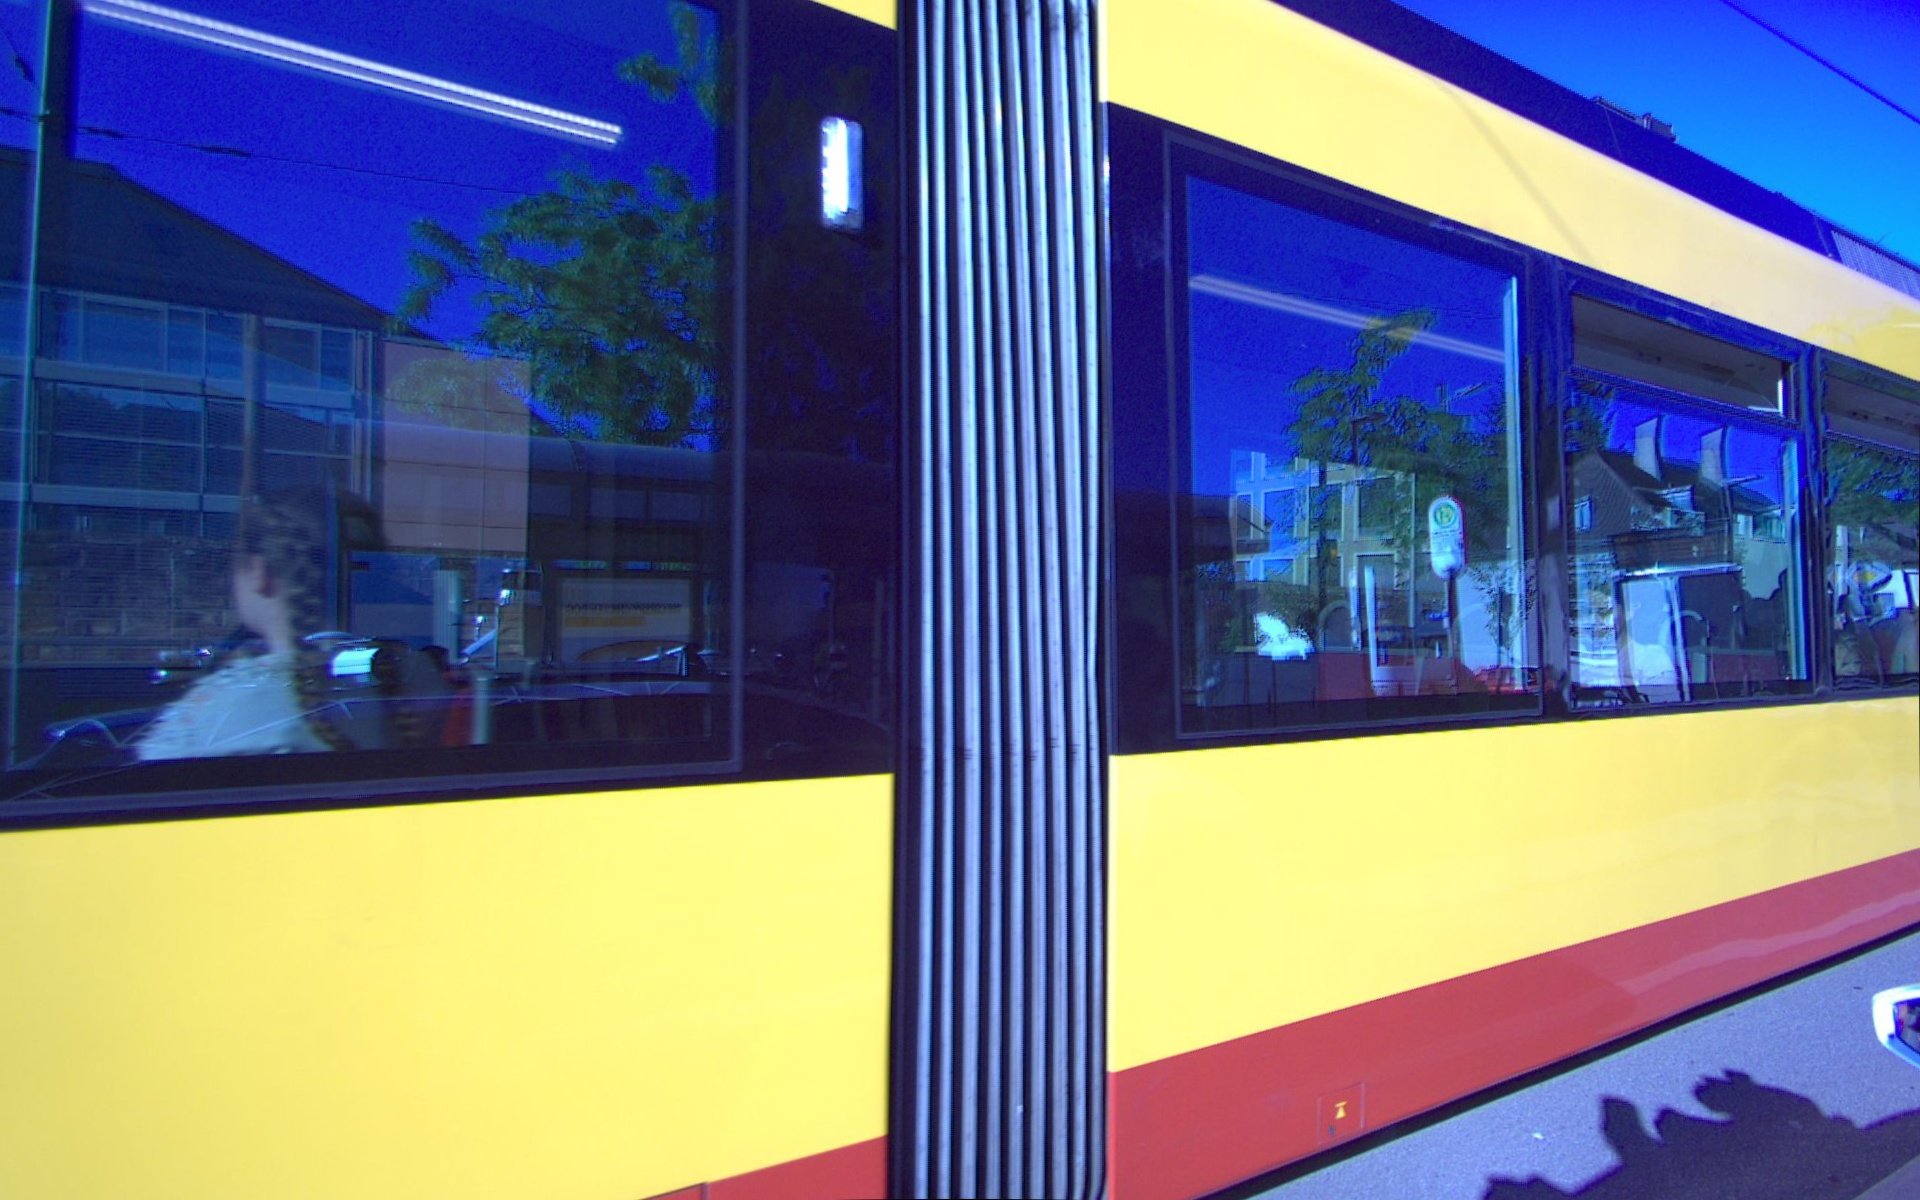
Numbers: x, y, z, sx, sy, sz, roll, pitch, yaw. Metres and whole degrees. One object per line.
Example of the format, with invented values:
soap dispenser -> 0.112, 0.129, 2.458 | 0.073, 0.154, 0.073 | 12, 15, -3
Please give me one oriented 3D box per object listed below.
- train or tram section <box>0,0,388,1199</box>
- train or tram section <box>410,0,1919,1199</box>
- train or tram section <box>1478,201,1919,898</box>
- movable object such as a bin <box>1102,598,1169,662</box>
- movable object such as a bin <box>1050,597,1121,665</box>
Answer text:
train or tram section -> -4.281, -0.443, 0.792 | 6.590, 3.506, 2.790 | 1, 0, -30
train or tram section -> 1.502, -0.315, 4.199 | 6.590, 3.506, 2.790 | 1, 0, -30
train or tram section -> 7.208, -0.201, 7.545 | 6.590, 3.506, 2.790 | 1, 0, -30
movable object such as a bin -> 4.115, 0.704, 23.530 | 1.294, 1.466, 0.876 | 1, -1, -31
movable object such as a bin -> 2.792, 0.693, 22.385 | 1.294, 1.466, 0.876 | 1, -1, -31
